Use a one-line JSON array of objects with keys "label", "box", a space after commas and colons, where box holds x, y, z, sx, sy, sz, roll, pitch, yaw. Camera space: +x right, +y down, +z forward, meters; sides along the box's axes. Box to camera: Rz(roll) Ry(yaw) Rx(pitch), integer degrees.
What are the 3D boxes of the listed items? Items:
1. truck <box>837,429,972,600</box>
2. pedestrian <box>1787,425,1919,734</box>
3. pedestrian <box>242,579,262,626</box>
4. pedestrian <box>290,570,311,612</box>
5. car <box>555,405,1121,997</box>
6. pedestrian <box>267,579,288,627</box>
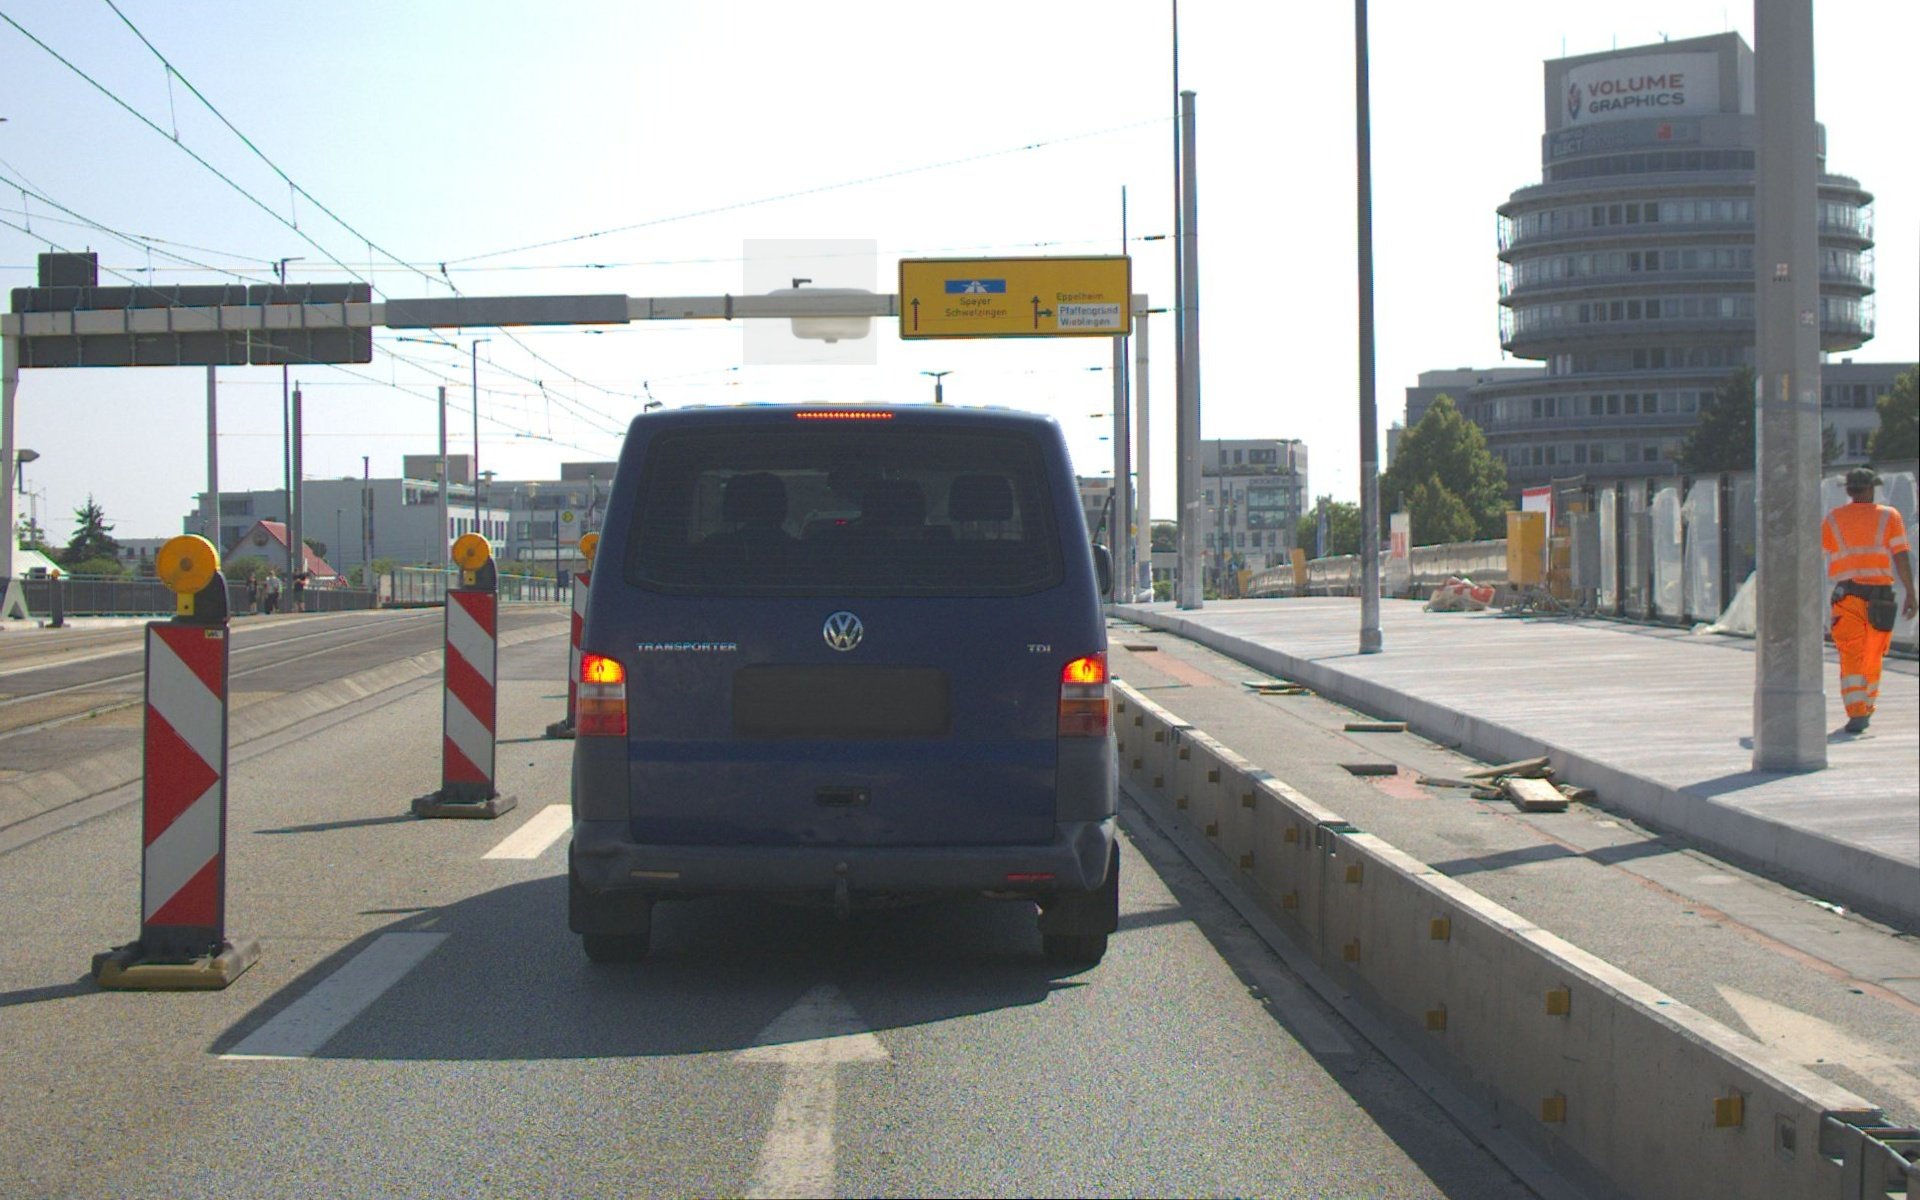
[{"label": "truck", "box": [-1.115, -1.773, 69.142, 2.460, 3.124, 11.217, -1, 2, -1]}, {"label": "pedestrian", "box": [5.831, -0.134, 22.074, 0.782, 1.928, 0.799, -2, 0, -1]}, {"label": "pedestrian", "box": [-26.587, 0.079, 129.136, 0.634, 1.746, 0.752, 0, 1, -1]}, {"label": "pedestrian", "box": [-25.310, -0.339, 131.942, 0.634, 1.593, 0.752, 0, 1, -1]}, {"label": "car", "box": [-0.505, 0.284, 13.145, 1.815, 1.899, 4.055, 0, 1, -3]}, {"label": "pedestrian", "box": [-25.638, 0.122, 129.121, 0.634, 1.768, 0.752, 0, 1, -1]}]
